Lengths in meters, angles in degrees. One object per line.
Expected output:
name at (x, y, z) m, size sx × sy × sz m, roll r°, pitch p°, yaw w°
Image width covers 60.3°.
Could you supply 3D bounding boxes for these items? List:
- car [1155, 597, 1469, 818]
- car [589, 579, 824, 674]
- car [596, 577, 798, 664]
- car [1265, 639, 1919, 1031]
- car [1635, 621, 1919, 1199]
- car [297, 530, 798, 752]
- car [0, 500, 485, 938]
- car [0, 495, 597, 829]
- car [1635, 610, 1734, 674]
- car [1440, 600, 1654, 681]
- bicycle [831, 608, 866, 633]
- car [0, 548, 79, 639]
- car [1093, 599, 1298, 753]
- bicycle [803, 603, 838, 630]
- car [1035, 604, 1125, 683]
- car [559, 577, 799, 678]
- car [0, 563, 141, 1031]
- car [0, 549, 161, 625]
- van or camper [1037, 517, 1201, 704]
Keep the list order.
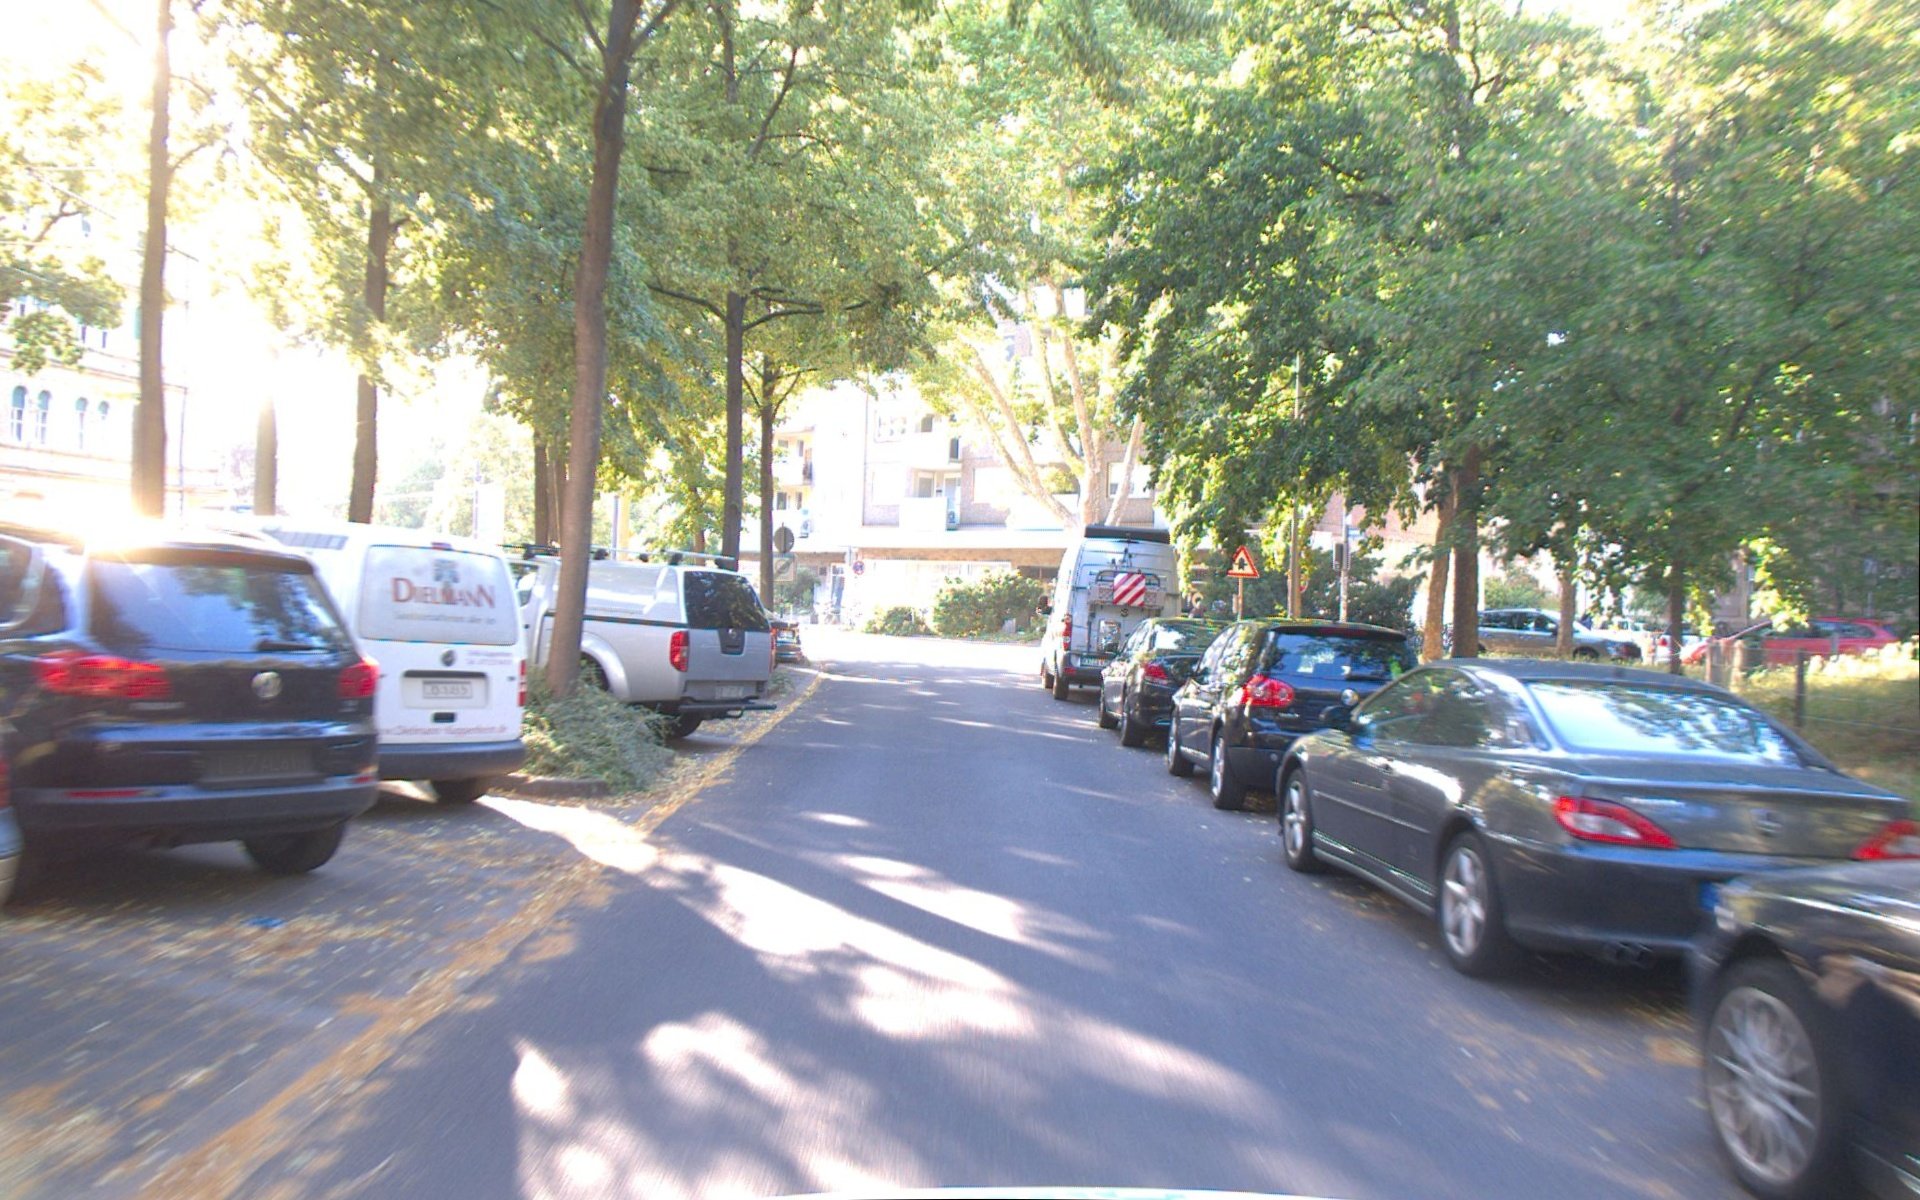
car at (2.822, 0.781, 14.188) m, size 1.646 × 1.552 × 4.286 m, roll 2°, pitch 0°, yaw -1°
car at (-4.946, 0.513, 32.255) m, size 4.103 × 1.463 × 1.831 m, roll 5°, pitch 0°, yaw 23°
car at (-5.627, 0.433, 35.420) m, size 3.796 × 1.519 × 1.831 m, roll 5°, pitch 0°, yaw 24°
car at (2.880, 0.934, 8.303) m, size 1.647 × 1.305 × 4.284 m, roll 2°, pitch 0°, yaw -3°
car at (3.043, 0.827, 2.916) m, size 1.646 × 1.449 × 4.657 m, roll 2°, pitch 0°, yaw -2°
car at (-4.374, 0.372, 17.436) m, size 4.889 × 1.812 × 1.986 m, roll 5°, pitch 0°, yaw 26°
car at (-4.608, 0.374, 8.277) m, size 4.071 × 1.672 × 1.911 m, roll 5°, pitch 0°, yaw 30°
car at (-4.707, 0.329, 11.497) m, size 4.076 × 1.812 × 1.878 m, roll 5°, pitch 0°, yaw 34°
car at (19.527, 1.091, 44.482) m, size 1.699 × 1.498 × 3.987 m, roll 1°, pitch 2°, yaw 35°
car at (13.200, 0.888, 37.344) m, size 4.203 × 1.579 × 1.730 m, roll 1°, pitch -3°, yaw 44°
bicycle at (-4.431, 0.805, 65.353) m, size 0.538 × 0.920 × 1.714 m, roll 2°, pitch 0°, yaw -36°
car at (-22.783, -0.177, 38.711) m, size 3.912 × 2.049 × 1.997 m, roll 1°, pitch 0°, yaw 29°
car at (2.643, 0.794, 19.530) m, size 1.646 × 1.552 × 4.488 m, roll 2°, pitch 0°, yaw -1°
bicycle at (-5.642, 0.647, 66.904) m, size 0.631 × 1.040 × 2.068 m, roll 1°, pitch 0°, yaw -29°
car at (2.523, 0.879, 35.457) m, size 1.646 × 1.471 × 3.872 m, roll 4°, pitch 0°, yaw 1°
car at (-5.035, 0.491, 29.716) m, size 3.783 × 1.463 × 1.831 m, roll 5°, pitch 0°, yaw 23°
car at (-4.690, 0.491, 5.537) m, size 3.353 × 1.450 × 1.831 m, roll 5°, pitch 0°, yaw 29°
car at (-22.722, -0.346, 41.725) m, size 4.725 × 1.795 × 2.083 m, roll 2°, pitch 0°, yaw 25°
van or camper at (2.601, 0.156, 28.504) m, size 2.042 × 2.810 × 5.843 m, roll 2°, pitch 0°, yaw -1°
